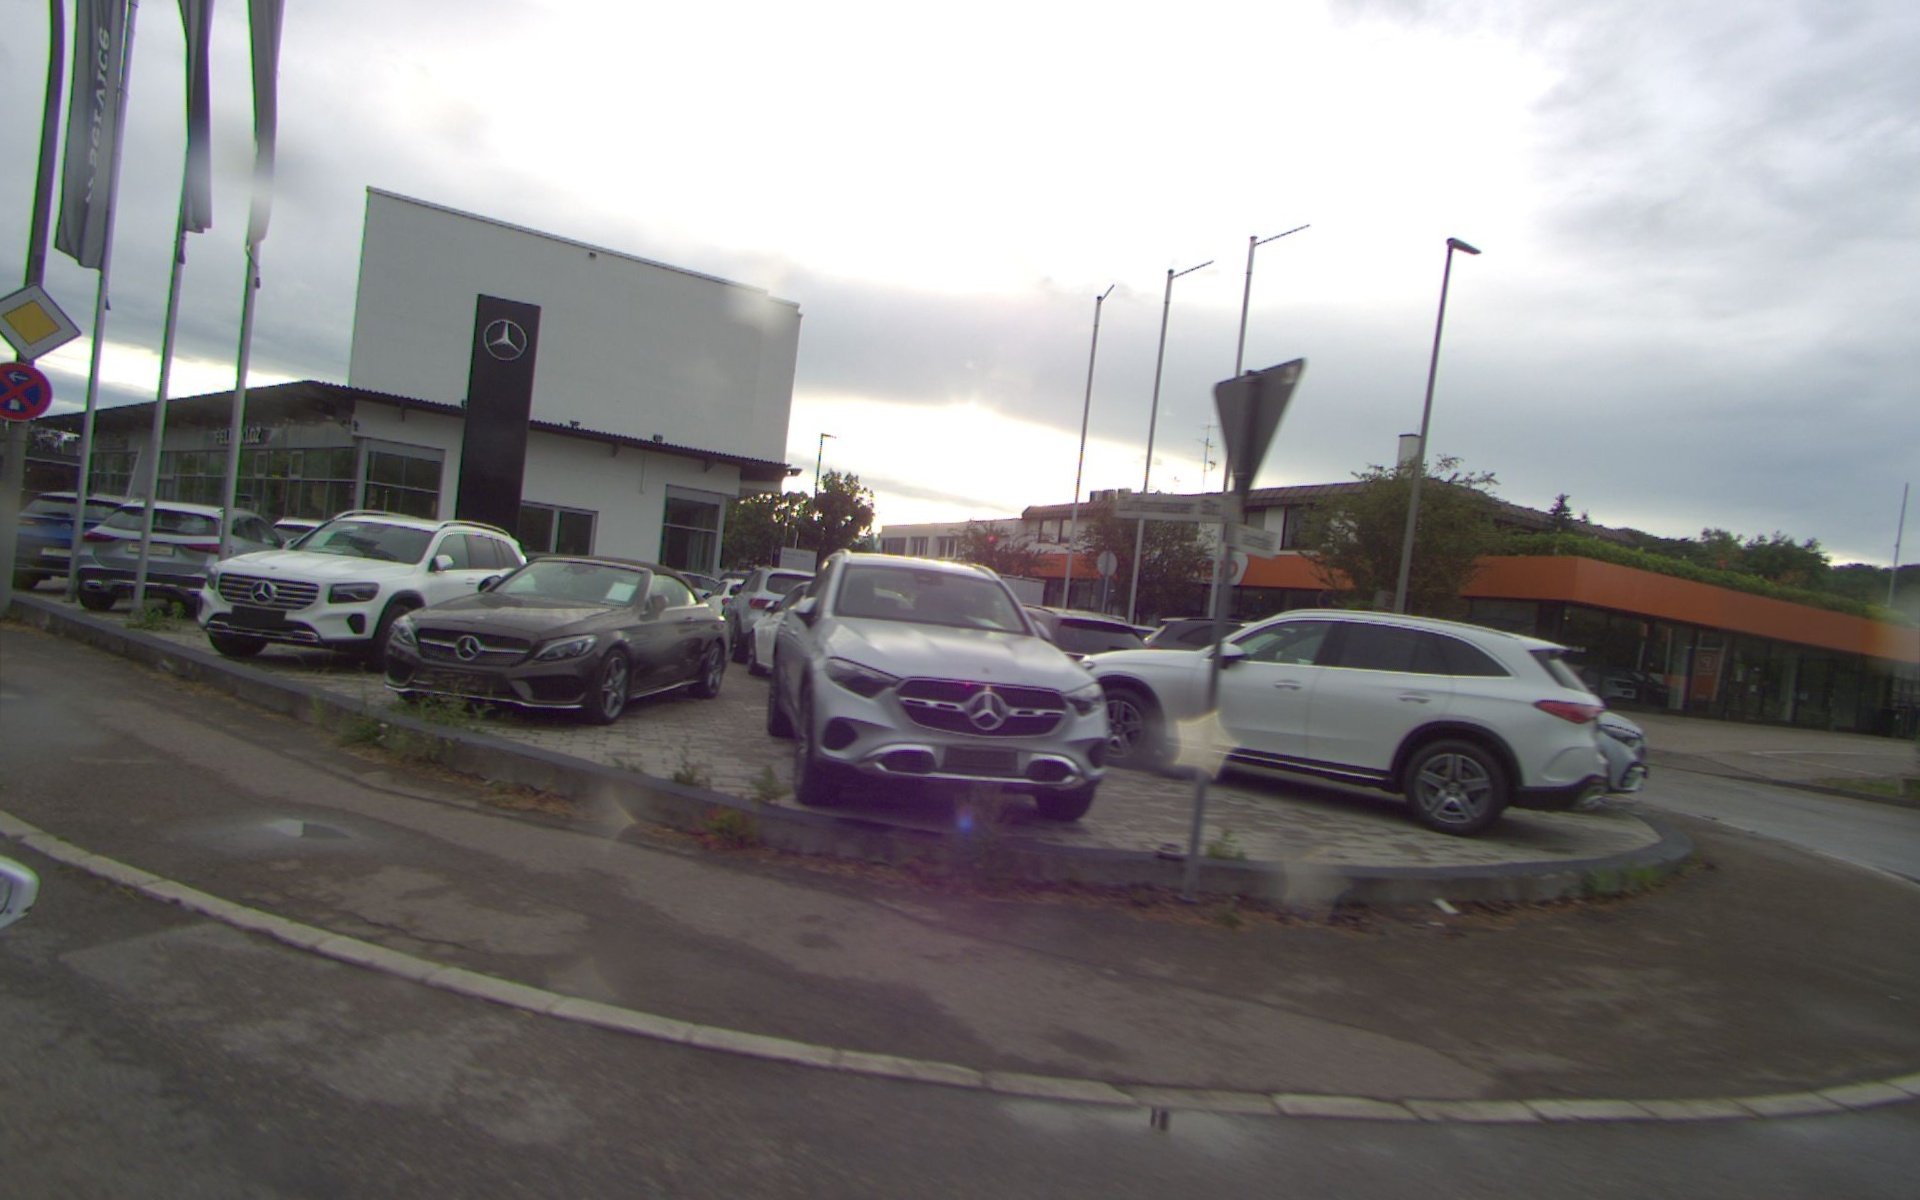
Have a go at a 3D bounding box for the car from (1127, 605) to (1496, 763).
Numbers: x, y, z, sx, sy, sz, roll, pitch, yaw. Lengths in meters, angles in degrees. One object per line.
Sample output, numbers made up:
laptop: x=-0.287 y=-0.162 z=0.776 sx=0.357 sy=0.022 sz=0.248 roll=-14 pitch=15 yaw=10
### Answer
car: x=5.015 y=1.146 z=14.921 sx=4.675 sy=1.478 sz=2.075 roll=8 pitch=1 yaw=15

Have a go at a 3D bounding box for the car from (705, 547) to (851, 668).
car: x=-3.384 y=0.176 z=18.100 sx=1.656 sy=1.739 sz=3.985 roll=8 pitch=-4 yaw=-21

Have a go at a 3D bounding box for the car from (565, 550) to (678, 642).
car: x=-7.272 y=-0.137 z=21.378 sx=1.878 sy=1.564 sz=3.979 roll=7 pitch=0 yaw=-22

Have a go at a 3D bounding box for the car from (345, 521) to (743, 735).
car: x=-3.624 y=0.246 z=9.726 sx=1.817 sy=1.411 sz=4.143 roll=7 pitch=0 yaw=3

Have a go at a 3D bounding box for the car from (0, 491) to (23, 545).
car: x=-29.179 y=-2.591 z=27.714 sx=4.384 sy=1.497 sz=1.924 roll=8 pitch=0 yaw=-22

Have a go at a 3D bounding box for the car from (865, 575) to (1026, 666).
car: x=-0.285 y=0.456 z=23.359 sx=3.385 sy=1.571 sz=1.772 roll=8 pitch=1 yaw=6

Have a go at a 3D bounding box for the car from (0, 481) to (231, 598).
car: x=-14.762 y=-1.008 z=17.766 sx=1.817 sy=1.653 sz=4.346 roll=5 pitch=1 yaw=-20

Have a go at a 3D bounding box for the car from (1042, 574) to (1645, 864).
car: x=3.280 y=0.884 z=9.101 sx=4.634 sy=1.693 sz=1.810 roll=6 pitch=-1 yaw=34

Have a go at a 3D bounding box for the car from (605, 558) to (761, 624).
car: x=-8.719 y=-0.270 z=31.681 sx=4.357 sy=1.460 sz=1.986 roll=7 pitch=1 yaw=-27

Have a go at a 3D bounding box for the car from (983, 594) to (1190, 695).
car: x=2.548 y=0.882 z=20.870 sx=3.925 sy=1.478 sz=1.772 roll=8 pitch=1 yaw=3

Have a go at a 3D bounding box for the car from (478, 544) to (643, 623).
car: x=-9.677 y=-0.403 z=24.640 sx=3.510 sy=1.497 sz=1.773 roll=6 pitch=1 yaw=-19

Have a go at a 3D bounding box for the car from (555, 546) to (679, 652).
car: x=-5.490 y=0.039 z=16.316 sx=1.655 sy=1.472 sz=3.912 roll=2 pitch=-1 yaw=-17

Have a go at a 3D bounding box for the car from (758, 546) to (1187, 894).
car: x=-0.299 y=0.676 z=7.508 sx=1.936 sy=1.690 sz=4.353 roll=7 pitch=-1 yaw=-15

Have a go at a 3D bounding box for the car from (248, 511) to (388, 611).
car: x=-12.727 y=-0.789 z=20.176 sx=1.710 sy=1.620 sz=4.154 roll=6 pitch=0 yaw=-25

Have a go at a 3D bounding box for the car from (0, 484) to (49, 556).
car: x=-24.571 y=-2.162 z=23.825 sx=4.463 sy=1.628 sz=1.842 roll=7 pitch=1 yaw=6

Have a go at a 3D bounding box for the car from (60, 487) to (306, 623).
car: x=-11.502 y=-0.648 z=15.214 sx=1.706 sy=1.620 sz=3.798 roll=6 pitch=0 yaw=-19

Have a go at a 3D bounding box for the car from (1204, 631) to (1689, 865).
car: x=5.324 y=1.508 z=11.426 sx=4.428 sy=1.696 sz=2.026 roll=7 pitch=-1 yaw=30

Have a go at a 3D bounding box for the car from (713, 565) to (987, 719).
car: x=-1.642 y=0.438 z=13.226 sx=1.945 sy=1.517 sz=4.334 roll=8 pitch=-1 yaw=-29

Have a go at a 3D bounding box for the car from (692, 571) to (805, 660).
car: x=-4.948 y=0.368 z=23.145 sx=1.748 sy=1.659 sz=3.972 roll=8 pitch=-4 yaw=-21

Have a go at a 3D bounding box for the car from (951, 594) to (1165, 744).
car: x=1.141 y=0.809 z=13.770 sx=1.743 sy=1.478 sz=4.116 roll=8 pitch=0 yaw=-10

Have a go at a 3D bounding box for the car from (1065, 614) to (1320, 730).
car: x=4.100 y=1.259 z=17.927 sx=3.939 sy=1.452 sz=1.766 roll=8 pitch=1 yaw=-16

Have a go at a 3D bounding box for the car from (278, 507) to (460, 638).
car: x=-8.937 y=-0.423 z=15.512 sx=1.640 sy=1.620 sz=3.543 roll=6 pitch=0 yaw=-19

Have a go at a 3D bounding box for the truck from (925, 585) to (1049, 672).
truck: x=1.098 y=1.229 z=46.539 sx=2.542 sy=3.452 sz=6.609 roll=9 pitch=-3 yaw=-26

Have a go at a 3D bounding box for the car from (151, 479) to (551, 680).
car: x=-6.628 y=-0.172 z=11.677 sx=1.892 sy=1.672 sz=4.426 roll=7 pitch=0 yaw=-2
